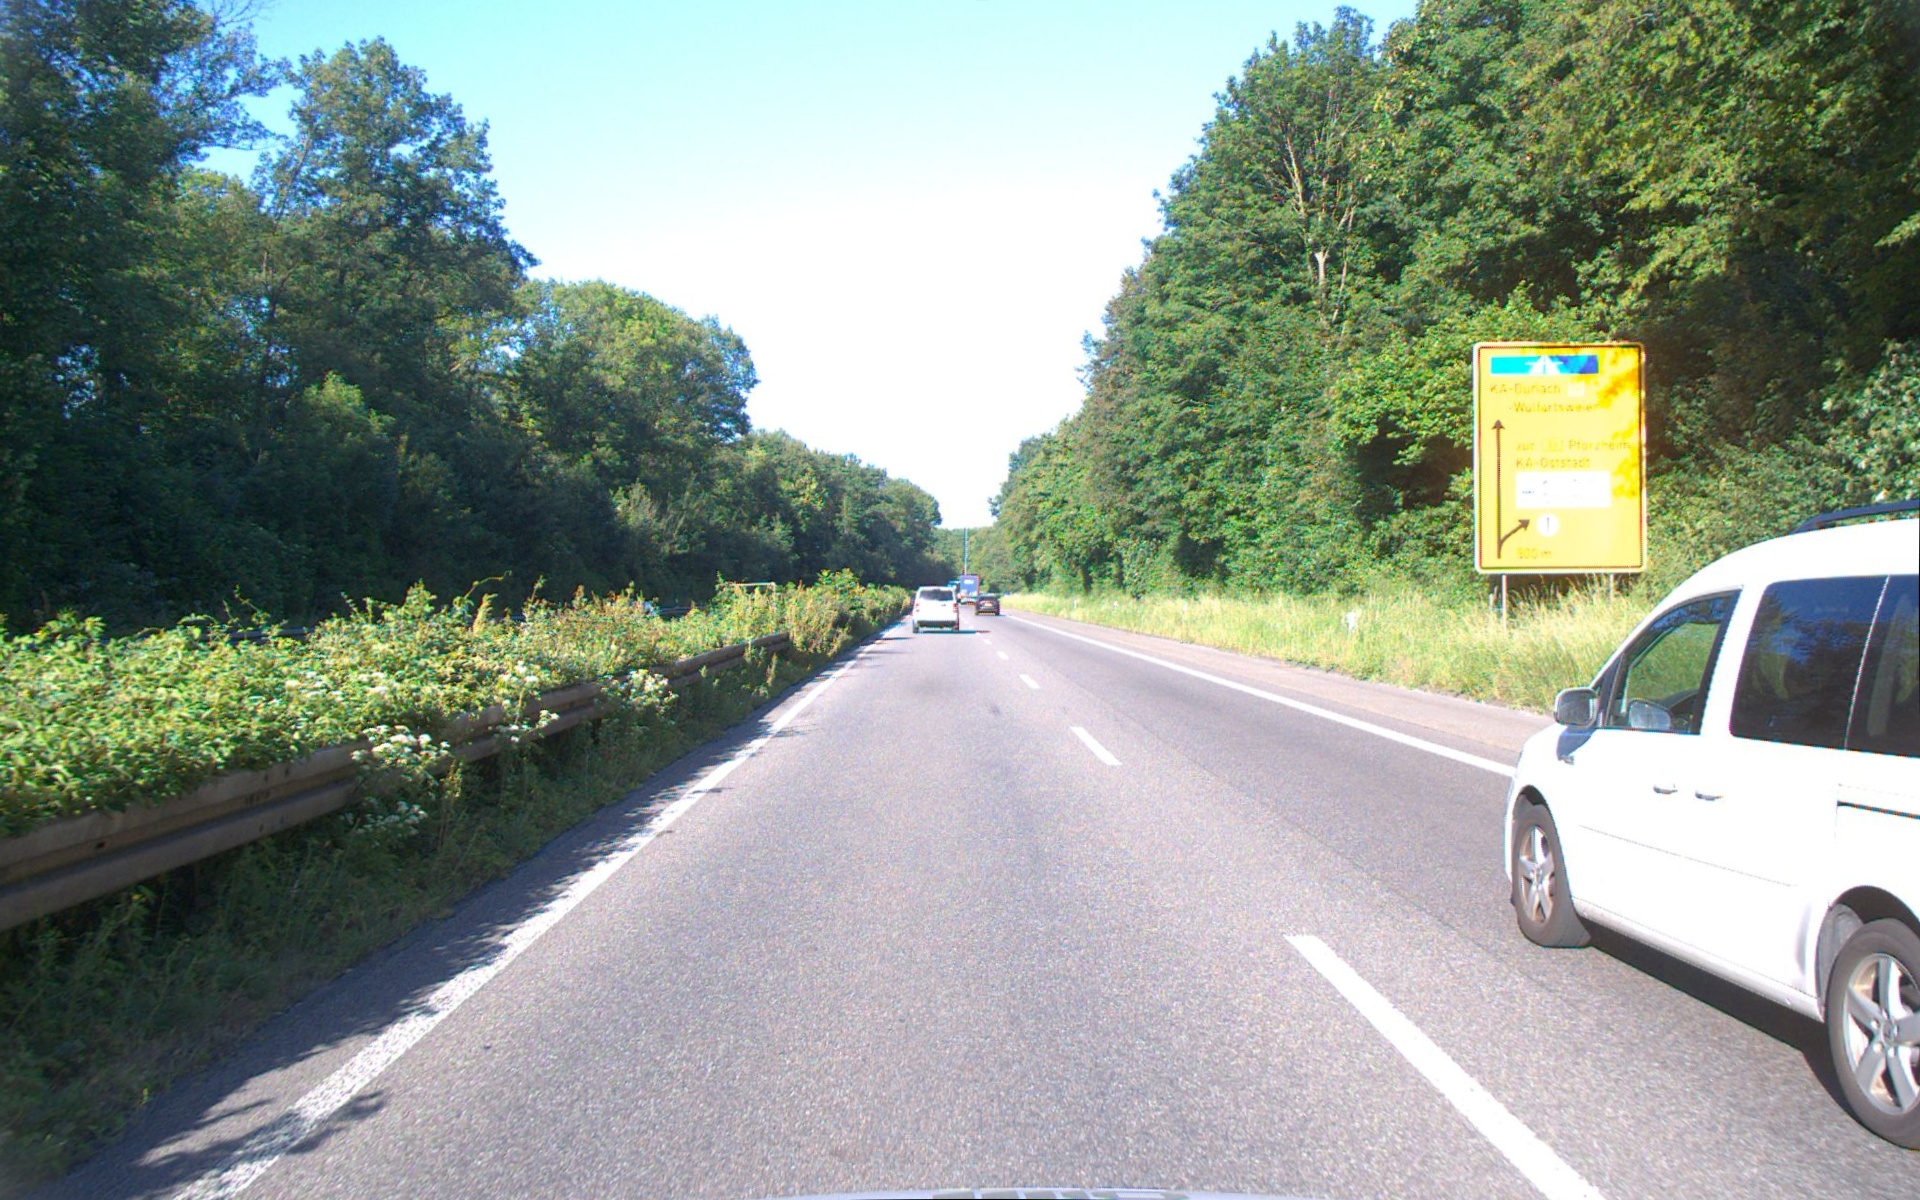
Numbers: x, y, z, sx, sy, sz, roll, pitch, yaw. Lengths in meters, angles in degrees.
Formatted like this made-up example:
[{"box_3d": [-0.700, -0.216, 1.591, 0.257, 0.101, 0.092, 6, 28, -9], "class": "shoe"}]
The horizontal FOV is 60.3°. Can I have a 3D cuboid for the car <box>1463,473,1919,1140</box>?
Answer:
[{"box_3d": [3.508, 0.586, 6.181, 1.762, 1.844, 4.586, 1, 0, -1], "class": "car"}]

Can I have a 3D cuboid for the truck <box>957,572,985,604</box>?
[{"box_3d": [1.495, -1.621, 232.877, 3.658, 4.419, 9.303, 1, 0, -1], "class": "truck"}]

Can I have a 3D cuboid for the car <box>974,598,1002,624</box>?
[{"box_3d": [2.020, 0.816, 120.687, 1.912, 1.813, 4.586, 1, 0, -1], "class": "car"}]

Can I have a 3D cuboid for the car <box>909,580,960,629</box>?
[{"box_3d": [-1.010, 0.182, 65.281, 1.912, 1.813, 4.586, 1, 0, -1], "class": "car"}]
